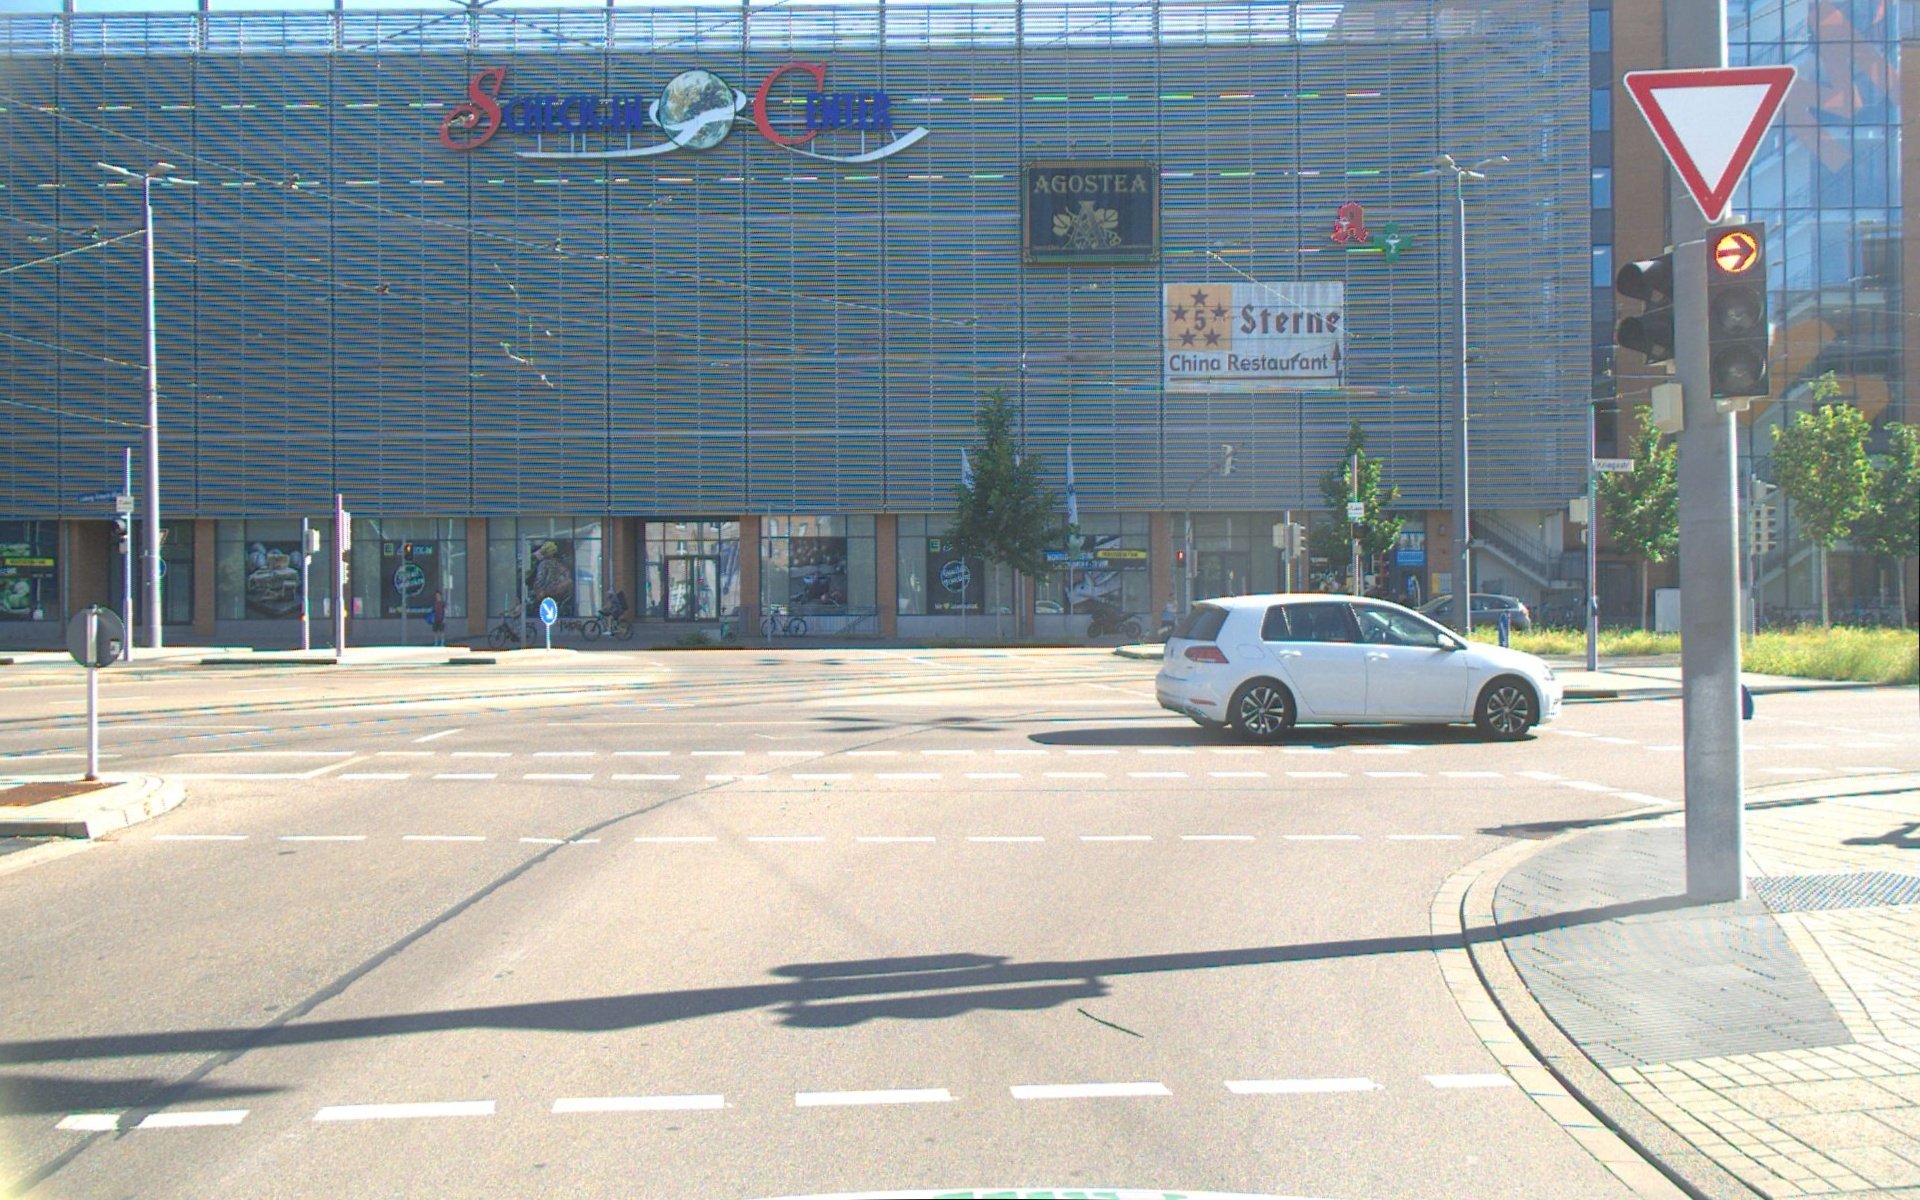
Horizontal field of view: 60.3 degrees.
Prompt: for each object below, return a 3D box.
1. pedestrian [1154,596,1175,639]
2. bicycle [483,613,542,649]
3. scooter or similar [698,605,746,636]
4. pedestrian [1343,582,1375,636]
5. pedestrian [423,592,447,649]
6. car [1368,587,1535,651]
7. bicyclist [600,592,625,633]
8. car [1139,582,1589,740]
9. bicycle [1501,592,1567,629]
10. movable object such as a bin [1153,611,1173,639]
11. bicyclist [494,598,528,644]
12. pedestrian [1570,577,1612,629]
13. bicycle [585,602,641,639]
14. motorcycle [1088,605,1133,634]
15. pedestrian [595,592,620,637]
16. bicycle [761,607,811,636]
[{"bbox_3d":[6.856,0.578,55.361,0.641,1.438,0.850,1,0,10],"label":"pedestrian"},{"bbox_3d":[-14.768,1.009,54.616,0.559,1.105,1.852,0,2,42],"label":"bicycle"},{"bbox_3d":[-8.747,0.749,60.776,1.759,1.085,0.611,0,1,-9],"label":"scooter or similar"},{"bbox_3d":[14.168,0.329,58.752,0.930,1.860,0.846,-2,-4,5],"label":"pedestrian"},{"bbox_3d":[-17.340,0.665,54.664,0.683,1.829,0.727,-2,0,-17],"label":"pedestrian"},{"bbox_3d":[13.656,0.532,46.092,4.063,1.495,1.840,3,-1,-2],"label":"car"},{"bbox_3d":[-12.218,0.430,58.230,0.738,1.410,0.565,-1,1,-1],"label":"bicyclist"},{"bbox_3d":[4.147,0.581,17.298,4.203,1.498,1.861,-1,0,-9],"label":"car"},{"bbox_3d":[21.287,0.390,61.349,2.209,1.318,0.605,1,-1,-2],"label":"bicycle"},{"bbox_3d":[6.740,0.832,54.894,0.599,0.920,0.970,1,0,10],"label":"movable object such as a bin"},{"bbox_3d":[-14.800,0.692,54.540,0.663,1.452,0.844,0,2,42],"label":"bicyclist"},{"bbox_3d":[23.056,0.099,60.449,1.005,1.860,1.022,-2,0,-37],"label":"pedestrian"},{"bbox_3d":[-12.225,0.726,58.243,1.819,1.238,0.569,-1,1,-2],"label":"bicycle"},{"bbox_3d":[5.528,0.728,60.705,1.605,1.022,0.447,1,0,6],"label":"motorcycle"},{"bbox_3d":[-12.940,0.532,60.730,0.646,1.629,0.594,1,-1,18],"label":"pedestrian"},{"bbox_3d":[-6.367,0.780,60.429,1.783,1.006,0.556,0,1,-11],"label":"bicycle"}]
